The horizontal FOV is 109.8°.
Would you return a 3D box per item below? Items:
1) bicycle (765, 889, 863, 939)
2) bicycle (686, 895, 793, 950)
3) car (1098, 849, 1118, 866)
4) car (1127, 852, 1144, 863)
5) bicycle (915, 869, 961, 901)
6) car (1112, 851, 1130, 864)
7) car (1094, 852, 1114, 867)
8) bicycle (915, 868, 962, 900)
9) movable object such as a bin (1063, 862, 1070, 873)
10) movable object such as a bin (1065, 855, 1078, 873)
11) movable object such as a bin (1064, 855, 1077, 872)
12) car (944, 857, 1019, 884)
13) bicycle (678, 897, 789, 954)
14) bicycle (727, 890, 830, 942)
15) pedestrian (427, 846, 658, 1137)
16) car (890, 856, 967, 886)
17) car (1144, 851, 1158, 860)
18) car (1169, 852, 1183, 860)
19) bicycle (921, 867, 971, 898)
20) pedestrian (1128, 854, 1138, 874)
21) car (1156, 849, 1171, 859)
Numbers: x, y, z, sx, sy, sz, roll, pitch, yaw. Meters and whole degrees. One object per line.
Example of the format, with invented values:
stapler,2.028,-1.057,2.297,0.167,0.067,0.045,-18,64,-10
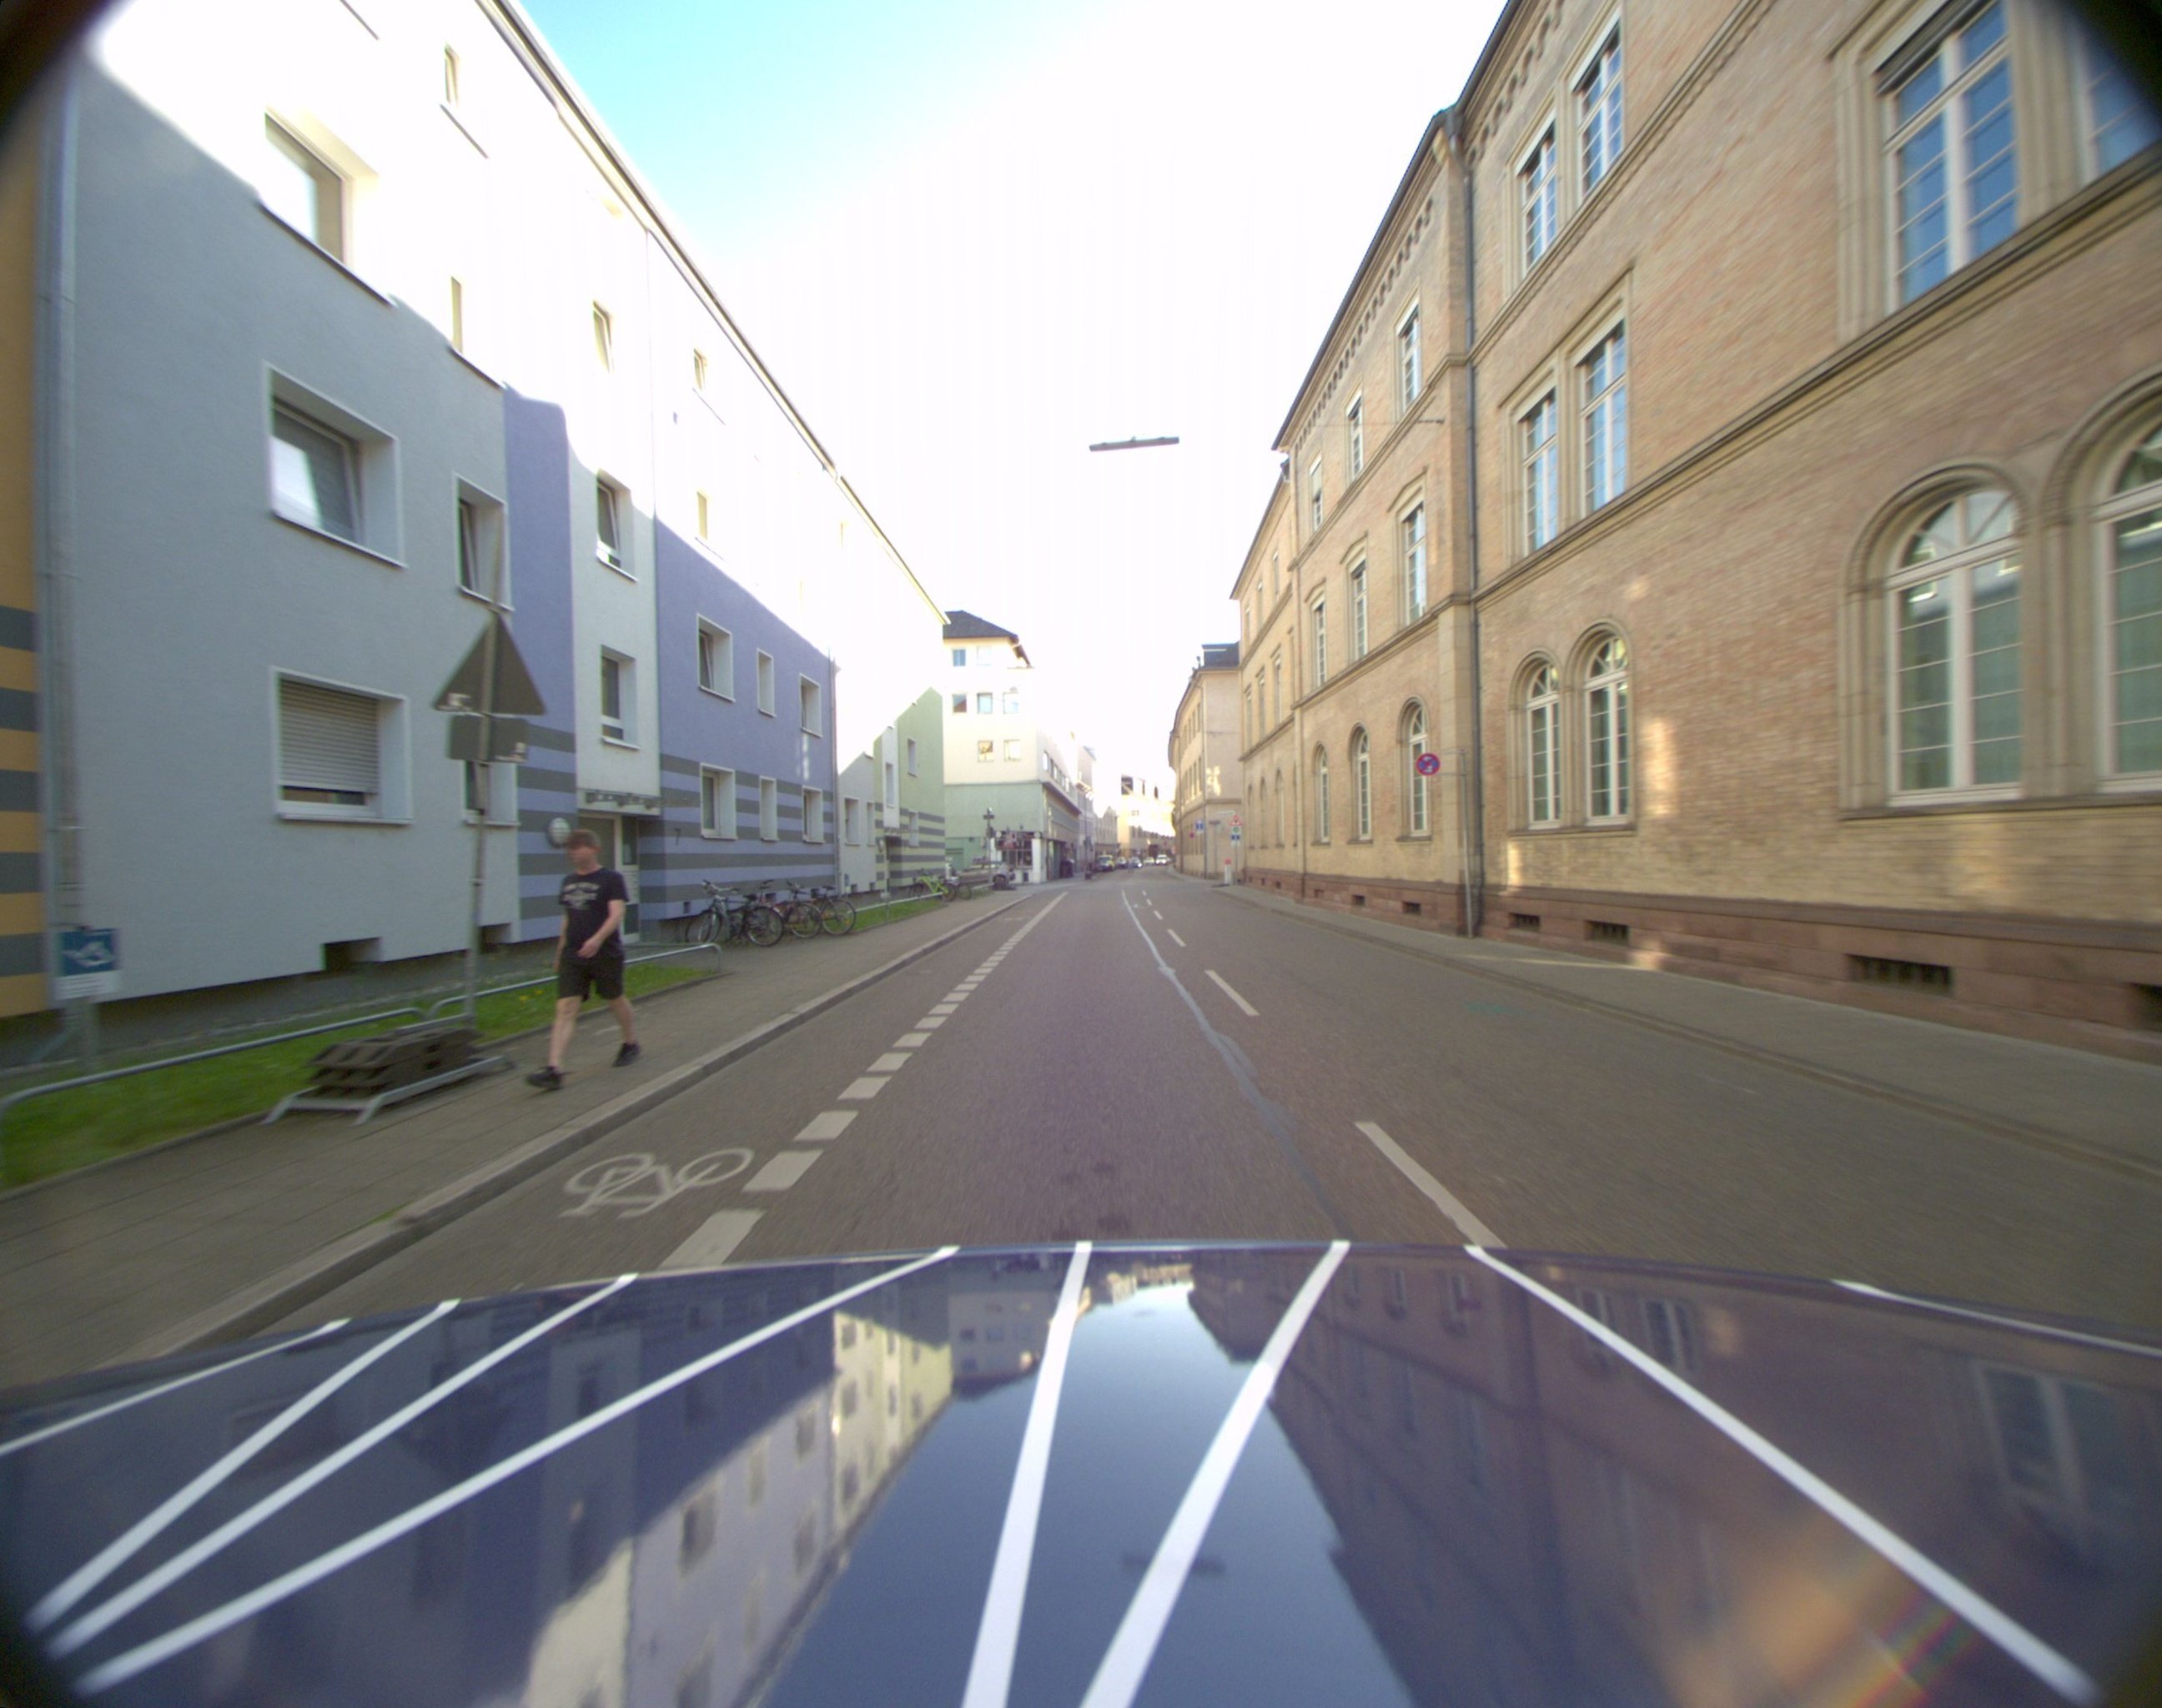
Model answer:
bicycle,-5.318,1.190,15.196,1.752,0.941,0.552,0,1,2
bicycle,-6.027,1.211,13.419,1.752,0.941,0.326,0,1,3
car,3.168,0.393,88.668,1.887,1.871,4.848,-2,0,7
car,7.951,0.516,110.066,1.828,1.550,3.989,-3,0,11
bicycle,-5.163,1.122,27.445,1.607,1.135,0.237,2,0,-6
car,5.563,0.517,104.729,1.828,1.645,4.497,-2,0,11
car,2.511,0.600,83.118,1.887,1.480,4.369,-2,0,5
bicycle,-5.194,1.091,27.720,1.646,1.135,0.283,2,0,-6
movable object such as a bin,-1.178,1.124,62.166,0.558,0.894,0.523,0,3,4
movable object such as a bin,-0.839,0.815,64.789,0.983,1.472,1.551,0,3,4
movable object such as a bin,-0.844,0.796,63.144,0.983,1.377,1.320,0,3,4
car,-5.830,0.981,44.971,4.088,1.473,1.865,-1,1,2
bicycle,-5.950,1.223,13.036,1.752,0.941,0.335,0,1,2
bicycle,-5.794,1.173,14.587,1.752,0.941,0.552,0,1,2
pedestrian,-3.586,0.828,5.183,0.698,1.750,1.189,1,1,2
car,-7.825,0.846,39.223,3.553,1.473,1.709,-1,1,3
car,12.412,0.259,134.755,1.733,1.539,4.004,-2,0,14
car,19.549,0.418,155.917,1.773,1.574,3.862,-6,-1,20
bicycle,-5.149,1.077,29.057,1.752,1.135,0.552,2,0,2
pedestrian,4.294,0.813,62.588,0.694,1.660,0.875,-3,1,6
car,15.851,0.009,145.981,1.774,1.574,3.861,-6,-1,19
